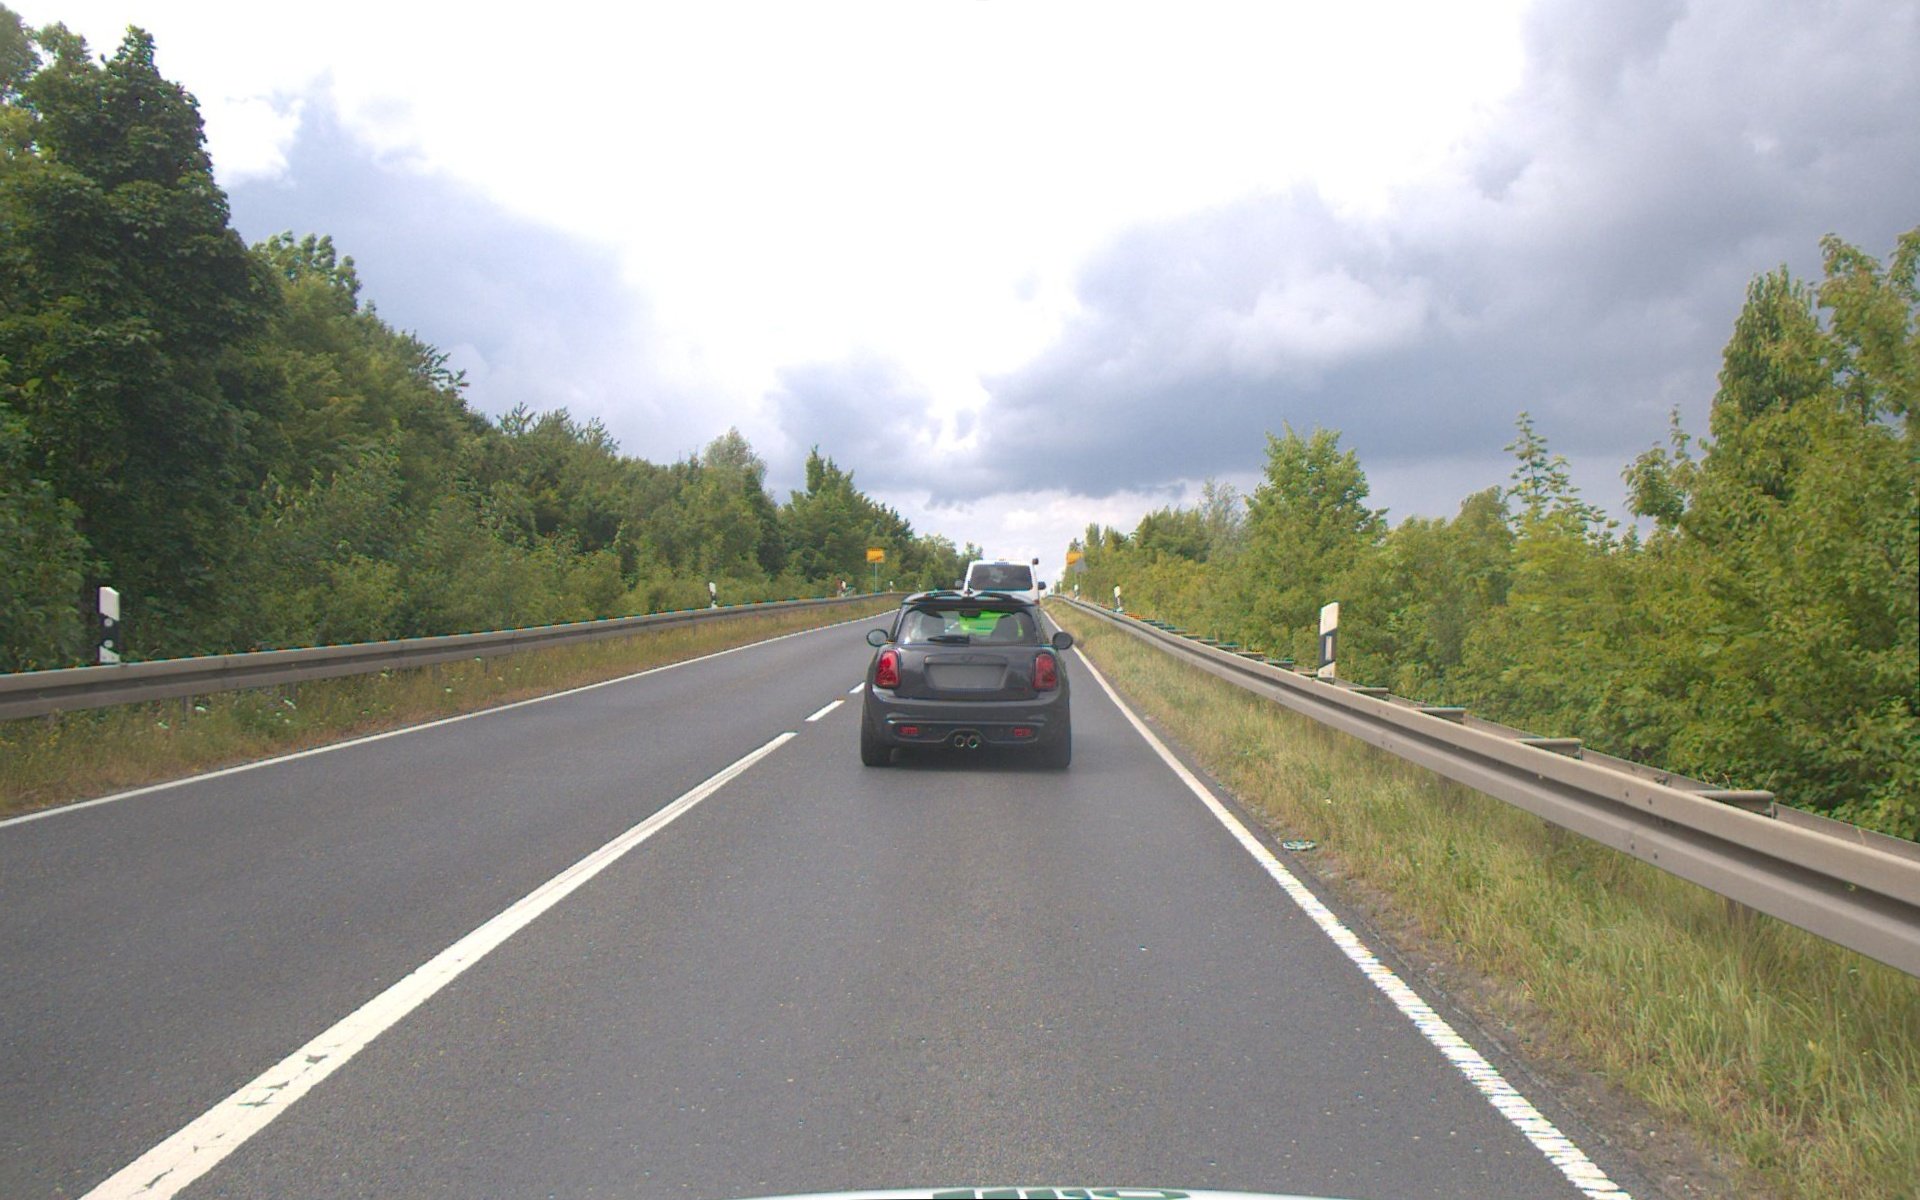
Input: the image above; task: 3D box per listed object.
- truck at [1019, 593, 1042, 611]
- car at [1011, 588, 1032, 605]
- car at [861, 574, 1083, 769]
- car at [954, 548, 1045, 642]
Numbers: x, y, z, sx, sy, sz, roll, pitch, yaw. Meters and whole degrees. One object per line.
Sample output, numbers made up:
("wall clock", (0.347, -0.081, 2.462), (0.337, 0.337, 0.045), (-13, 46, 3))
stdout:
("truck", (10.264, 0.215, 240.260), (2.848, 2.413, 10.458), (-2, 1, 5))
("car", (5.311, -0.310, 142.533), (1.659, 1.342, 4.002), (-1, 1, 4))
("car", (0.029, 0.532, 14.846), (1.697, 1.481, 3.999), (1, 1, -2))
("car", (0.963, -0.153, 38.790), (1.980, 2.048, 4.002), (2, 1, 2))
